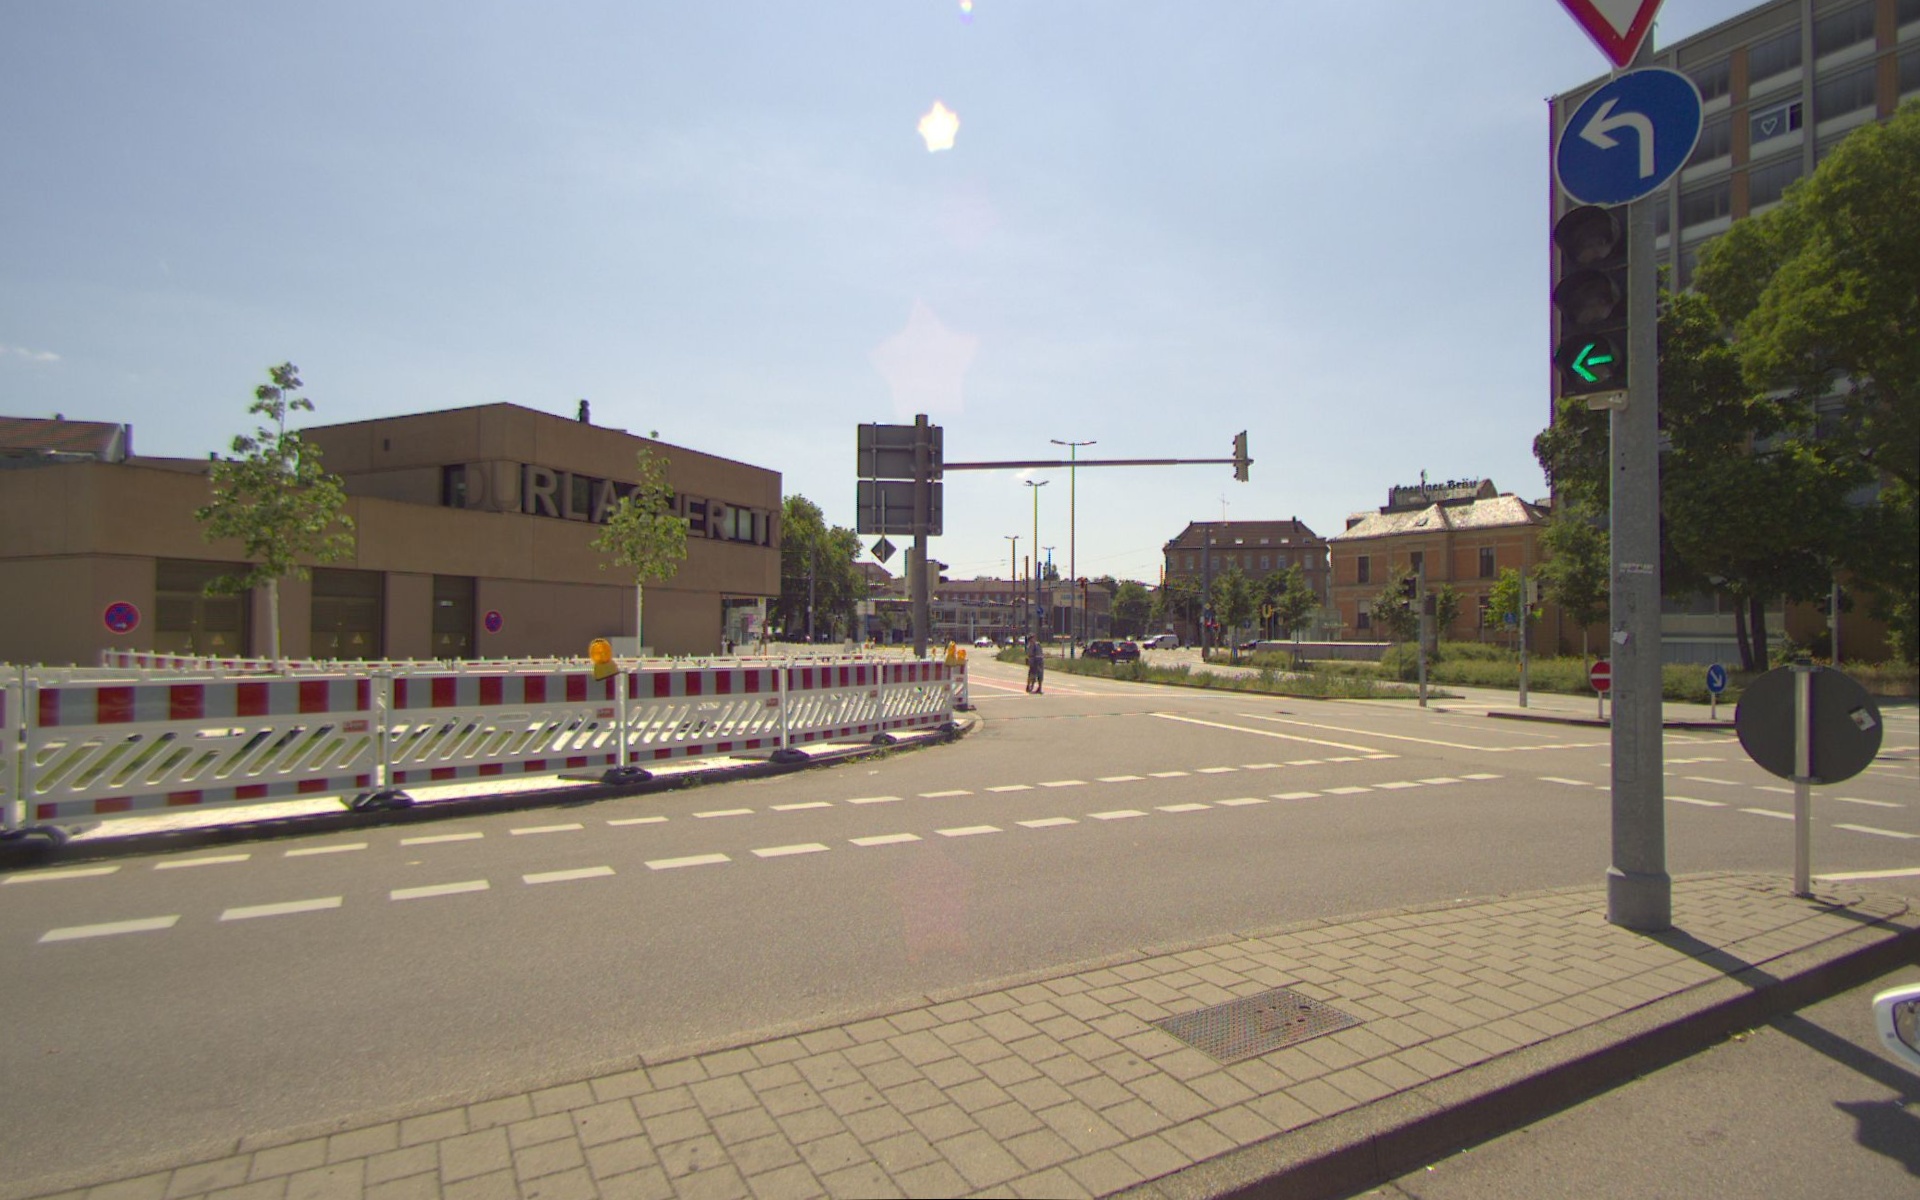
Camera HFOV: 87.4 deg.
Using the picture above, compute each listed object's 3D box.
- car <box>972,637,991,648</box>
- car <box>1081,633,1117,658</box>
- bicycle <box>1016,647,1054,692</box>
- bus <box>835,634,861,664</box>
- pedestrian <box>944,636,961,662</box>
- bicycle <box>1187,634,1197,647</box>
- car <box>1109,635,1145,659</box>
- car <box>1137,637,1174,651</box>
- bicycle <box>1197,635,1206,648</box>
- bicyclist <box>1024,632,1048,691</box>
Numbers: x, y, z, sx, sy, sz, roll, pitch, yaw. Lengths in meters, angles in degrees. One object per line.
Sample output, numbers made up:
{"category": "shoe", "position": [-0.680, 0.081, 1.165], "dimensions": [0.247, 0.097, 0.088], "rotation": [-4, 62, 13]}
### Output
{"category": "car", "position": [2.863, 5.699, 134.732], "dimensions": [1.592, 1.408, 4.127], "rotation": [0, -2, 16]}
{"category": "car", "position": [8.547, 2.805, 62.001], "dimensions": [1.594, 1.482, 4.000], "rotation": [1, -2, -1]}
{"category": "bicycle", "position": [2.055, 1.902, 27.723], "dimensions": [0.515, 1.196, 1.894], "rotation": [1, -3, -12]}
{"category": "bus", "position": [-6.035, 2.591, 53.845], "dimensions": [1.225, 1.266, 5.812], "rotation": [1, 0, -8]}
{"category": "pedestrian", "position": [-0.576, 3.763, 77.784], "dimensions": [1.161, 1.959, 0.901], "rotation": [1, 0, -7]}
{"category": "bicycle", "position": [34.767, 6.022, 150.453], "dimensions": [0.602, 1.812, 3.181], "rotation": [1, 0, -1]}
{"category": "car", "position": [11.670, 3.295, 70.465], "dimensions": [1.688, 1.577, 4.587], "rotation": [1, -2, -1]}
{"category": "car", "position": [24.249, 5.499, 124.615], "dimensions": [4.256, 1.649, 1.806], "rotation": [1, 0, -21]}
{"category": "bicycle", "position": [36.176, 6.135, 150.391], "dimensions": [0.602, 1.812, 3.181], "rotation": [1, 0, -1]}
{"category": "bicyclist", "position": [2.082, 1.690, 27.650], "dimensions": [0.522, 1.600, 0.497], "rotation": [1, -2, -13]}
